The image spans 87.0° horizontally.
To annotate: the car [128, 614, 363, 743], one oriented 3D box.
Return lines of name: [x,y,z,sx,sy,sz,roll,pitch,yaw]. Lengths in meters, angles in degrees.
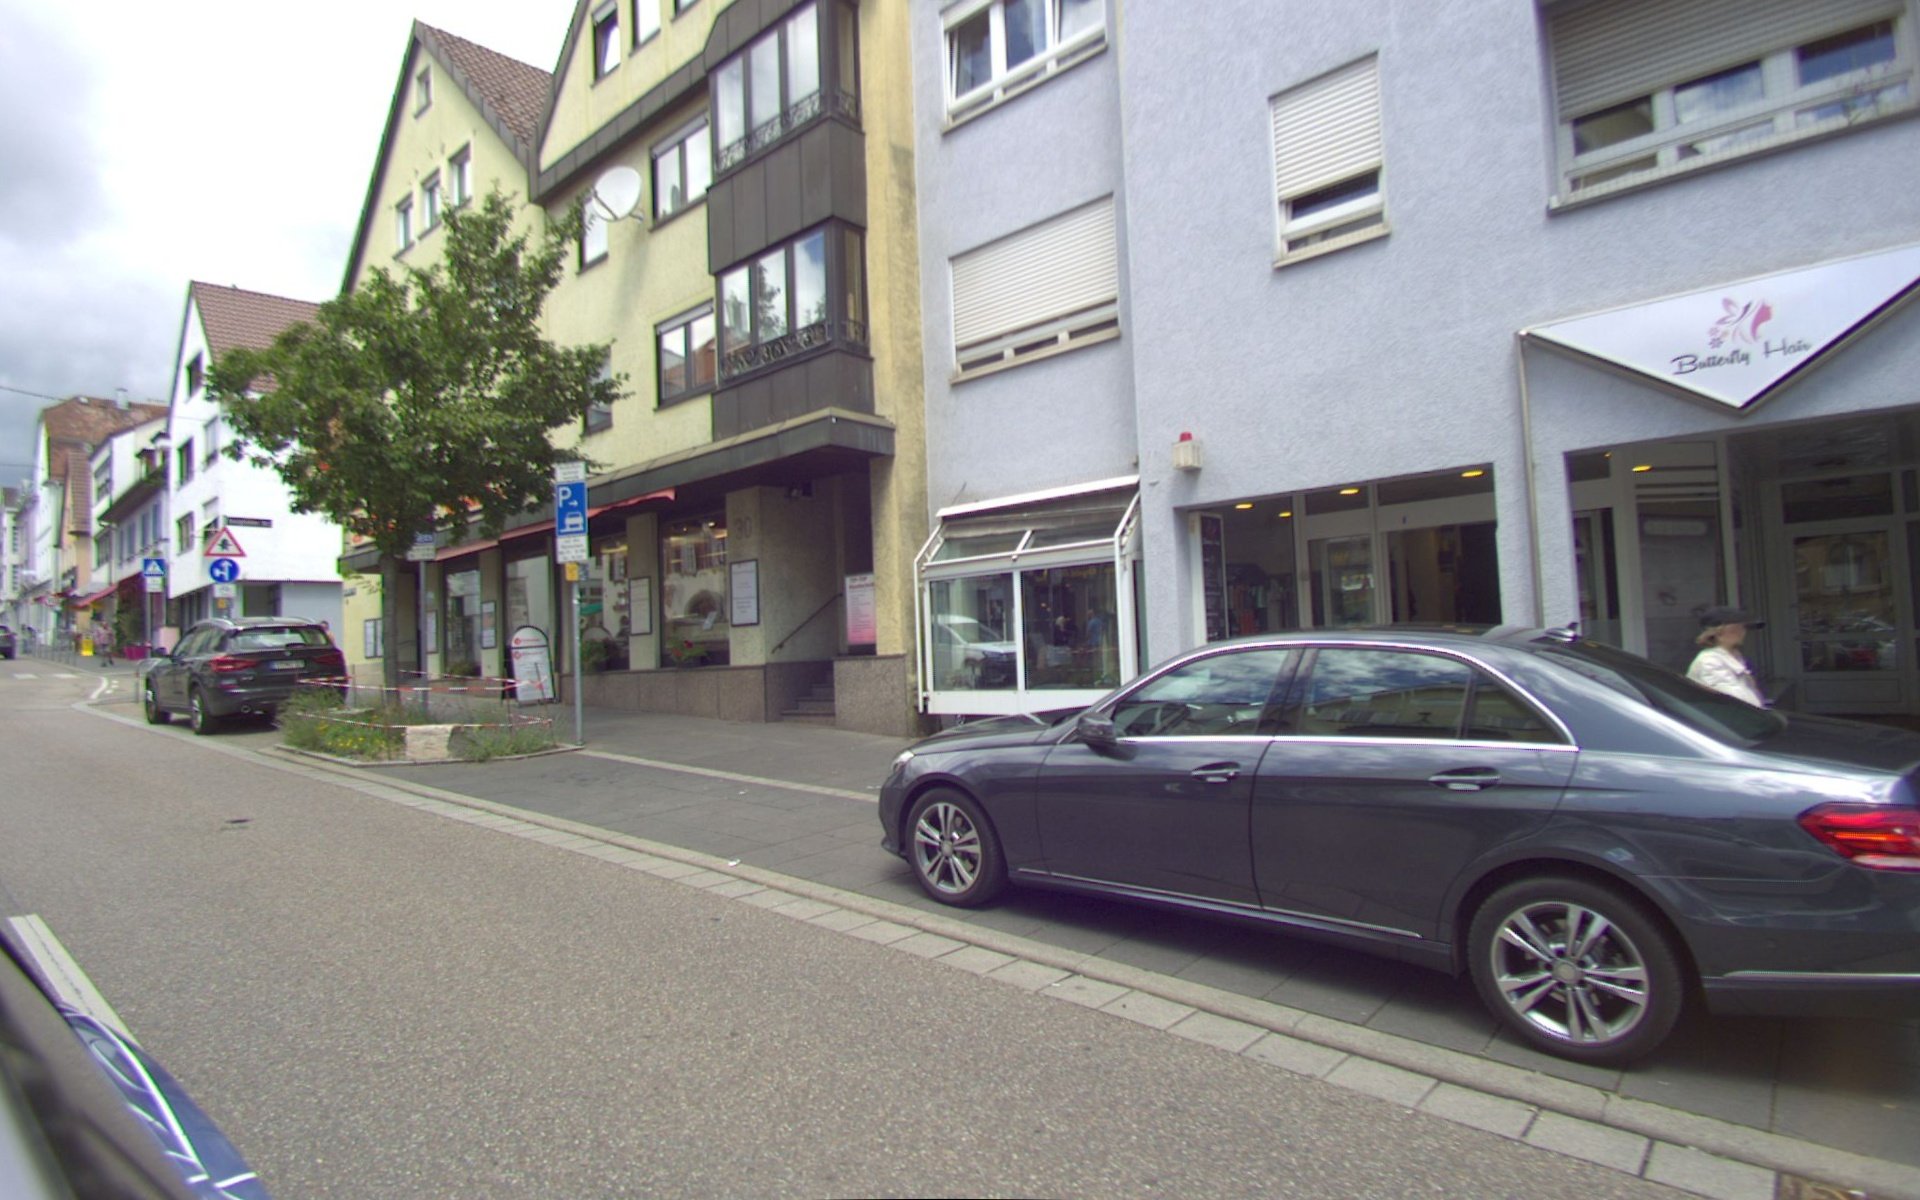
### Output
car: [-11.435,1.157,16.068,4.604,1.706,1.986,-2,-1,41]

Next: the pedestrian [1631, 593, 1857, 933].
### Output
pedestrian: [3.866,0.715,5.003,0.809,1.474,0.817,-1,1,40]

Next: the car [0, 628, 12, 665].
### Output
car: [-45.391,2.118,46.594,4.350,1.633,1.944,-1,-3,39]

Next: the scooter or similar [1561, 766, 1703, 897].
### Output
scooter or similar: [3.611,1.220,5.436,0.572,0.523,0.519,-1,1,40]

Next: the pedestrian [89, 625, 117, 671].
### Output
pedestrian: [-32.786,1.820,38.716,0.825,1.753,0.686,-2,-2,44]

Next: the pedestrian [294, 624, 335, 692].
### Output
pedestrian: [-17.016,1.525,26.683,0.835,1.752,0.630,-1,-3,39]

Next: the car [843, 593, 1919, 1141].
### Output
car: [1.819,0.787,4.835,4.838,1.504,1.907,-1,0,40]
